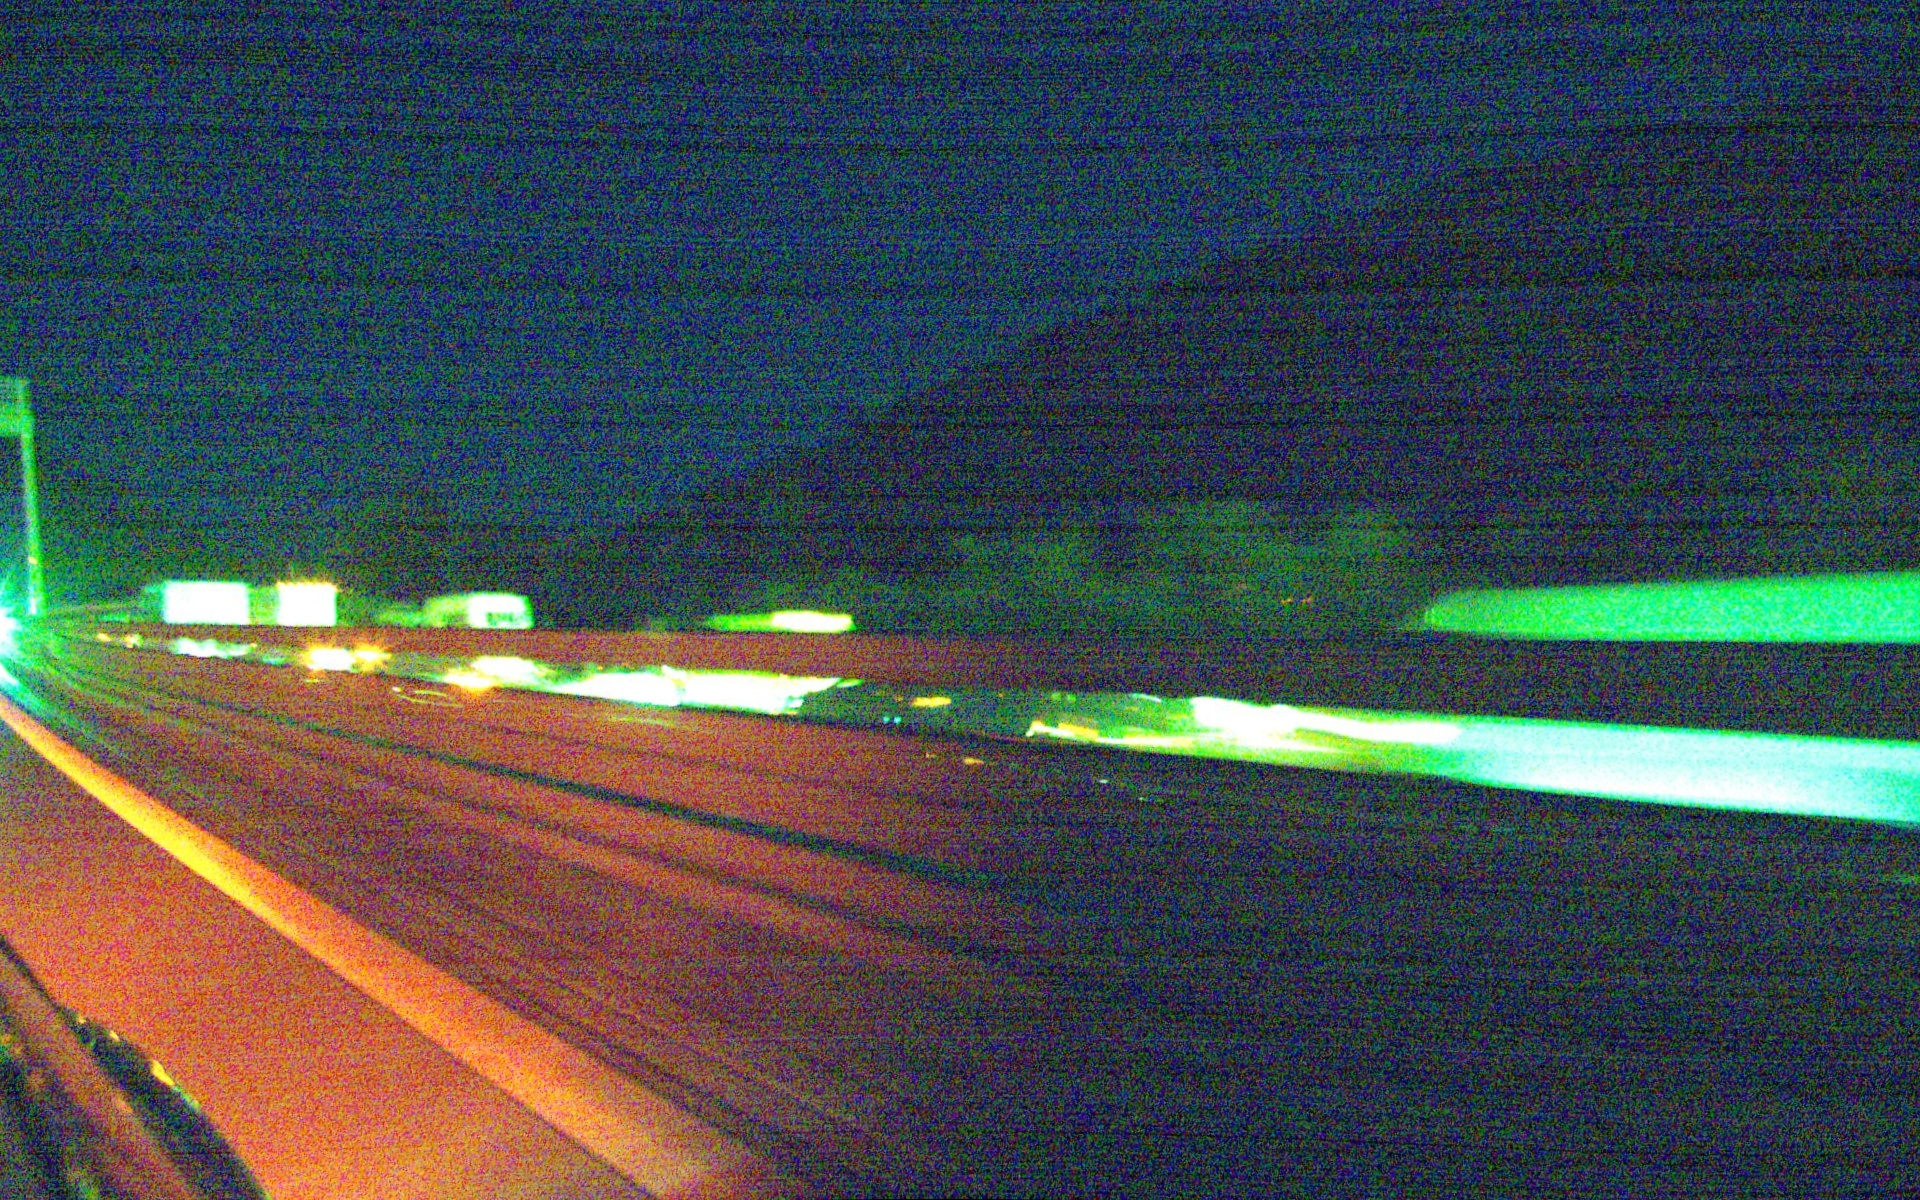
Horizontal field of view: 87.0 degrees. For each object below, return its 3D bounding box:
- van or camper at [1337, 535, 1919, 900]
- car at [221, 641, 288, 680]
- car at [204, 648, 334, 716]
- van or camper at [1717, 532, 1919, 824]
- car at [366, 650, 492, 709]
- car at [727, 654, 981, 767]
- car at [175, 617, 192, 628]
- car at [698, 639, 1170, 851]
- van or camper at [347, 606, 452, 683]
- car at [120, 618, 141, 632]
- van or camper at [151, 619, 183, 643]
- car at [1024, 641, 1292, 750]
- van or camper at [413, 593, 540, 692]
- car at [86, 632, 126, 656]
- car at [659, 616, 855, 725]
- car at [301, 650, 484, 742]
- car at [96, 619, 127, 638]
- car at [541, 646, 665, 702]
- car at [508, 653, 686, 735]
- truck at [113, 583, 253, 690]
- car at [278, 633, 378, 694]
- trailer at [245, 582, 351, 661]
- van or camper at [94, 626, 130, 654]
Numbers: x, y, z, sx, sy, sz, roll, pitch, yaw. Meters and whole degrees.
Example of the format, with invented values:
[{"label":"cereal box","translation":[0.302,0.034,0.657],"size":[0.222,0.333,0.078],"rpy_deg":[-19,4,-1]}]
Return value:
[{"label":"van or camper","translation":[6.982,0.887,8.677],"size":[6.681,2.615,2.232],"rpy_deg":[-1,-3,40]},{"label":"car","translation":[-30.037,2.550,43.063],"size":[4.140,1.453,1.582],"rpy_deg":[-1,-1,44]},{"label":"car","translation":[-18.756,2.152,27.400],"size":[4.145,1.548,1.972],"rpy_deg":[-1,-1,42]},{"label":"van or camper","translation":[11.217,0.740,9.508],"size":[6.482,2.782,2.421],"rpy_deg":[-1,-1,39]},{"label":"car","translation":[-15.686,2.285,29.792],"size":[4.504,1.462,1.814],"rpy_deg":[-1,-1,42]},{"label":"car","translation":[-1.929,1.776,17.379],"size":[4.504,1.526,1.800],"rpy_deg":[-1,-1,42]},{"label":"car","translation":[-104.344,3.014,136.032],"size":[1.793,1.480,4.288],"rpy_deg":[0,0,-38]},{"label":"car","translation":[-0.440,1.154,9.654],"size":[4.504,1.462,1.814],"rpy_deg":[-1,-1,42]},{"label":"van or camper","translation":[-23.446,1.763,42.212],"size":[6.398,2.994,1.814],"rpy_deg":[-1,-1,42]},{"label":"car","translation":[-93.595,2.797,114.222],"size":[1.793,1.480,4.288],"rpy_deg":[0,0,-38]},{"label":"van or camper","translation":[-70.359,2.689,89.773],"size":[1.969,2.029,5.229],"rpy_deg":[1,-1,-41]},{"label":"car","translation":[3.495,1.619,18.414],"size":[4.504,1.621,1.814],"rpy_deg":[-1,-1,42]},{"label":"van or camper","translation":[-18.110,1.518,37.756],"size":[5.693,3.405,2.245],"rpy_deg":[-1,-1,42]},{"label":"car","translation":[-54.409,2.784,64.450],"size":[1.582,1.453,4.002],"rpy_deg":[1,-1,-45]},{"label":"car","translation":[-5.066,1.584,24.730],"size":[5.445,2.388,1.814],"rpy_deg":[-1,-1,42]},{"label":"car","translation":[-11.278,1.791,19.979],"size":[4.504,1.462,1.800],"rpy_deg":[-1,-1,42]},{"label":"car","translation":[-80.707,2.714,96.291],"size":[2.112,1.719,5.122],"rpy_deg":[1,-1,-39]},{"label":"car","translation":[-10.750,2.162,30.351],"size":[4.000,1.462,1.814],"rpy_deg":[-1,-1,42]},{"label":"car","translation":[-8.114,1.997,22.419],"size":[4.504,1.462,1.800],"rpy_deg":[-1,-1,42]},{"label":"truck","translation":[-29.329,1.246,38.042],"size":[8.548,3.618,2.626],"rpy_deg":[0,1,42]},{"label":"car","translation":[-23.409,2.279,37.451],"size":[3.996,2.029,1.974],"rpy_deg":[-1,0,40]},{"label":"trailer","translation":[-39.860,1.255,60.641],"size":[3.394,4.273,12.848],"rpy_deg":[2,-2,-42]},{"label":"van or camper","translation":[-64.687,2.998,77.170],"size":[2.005,2.029,4.582],"rpy_deg":[1,-1,-41]}]
